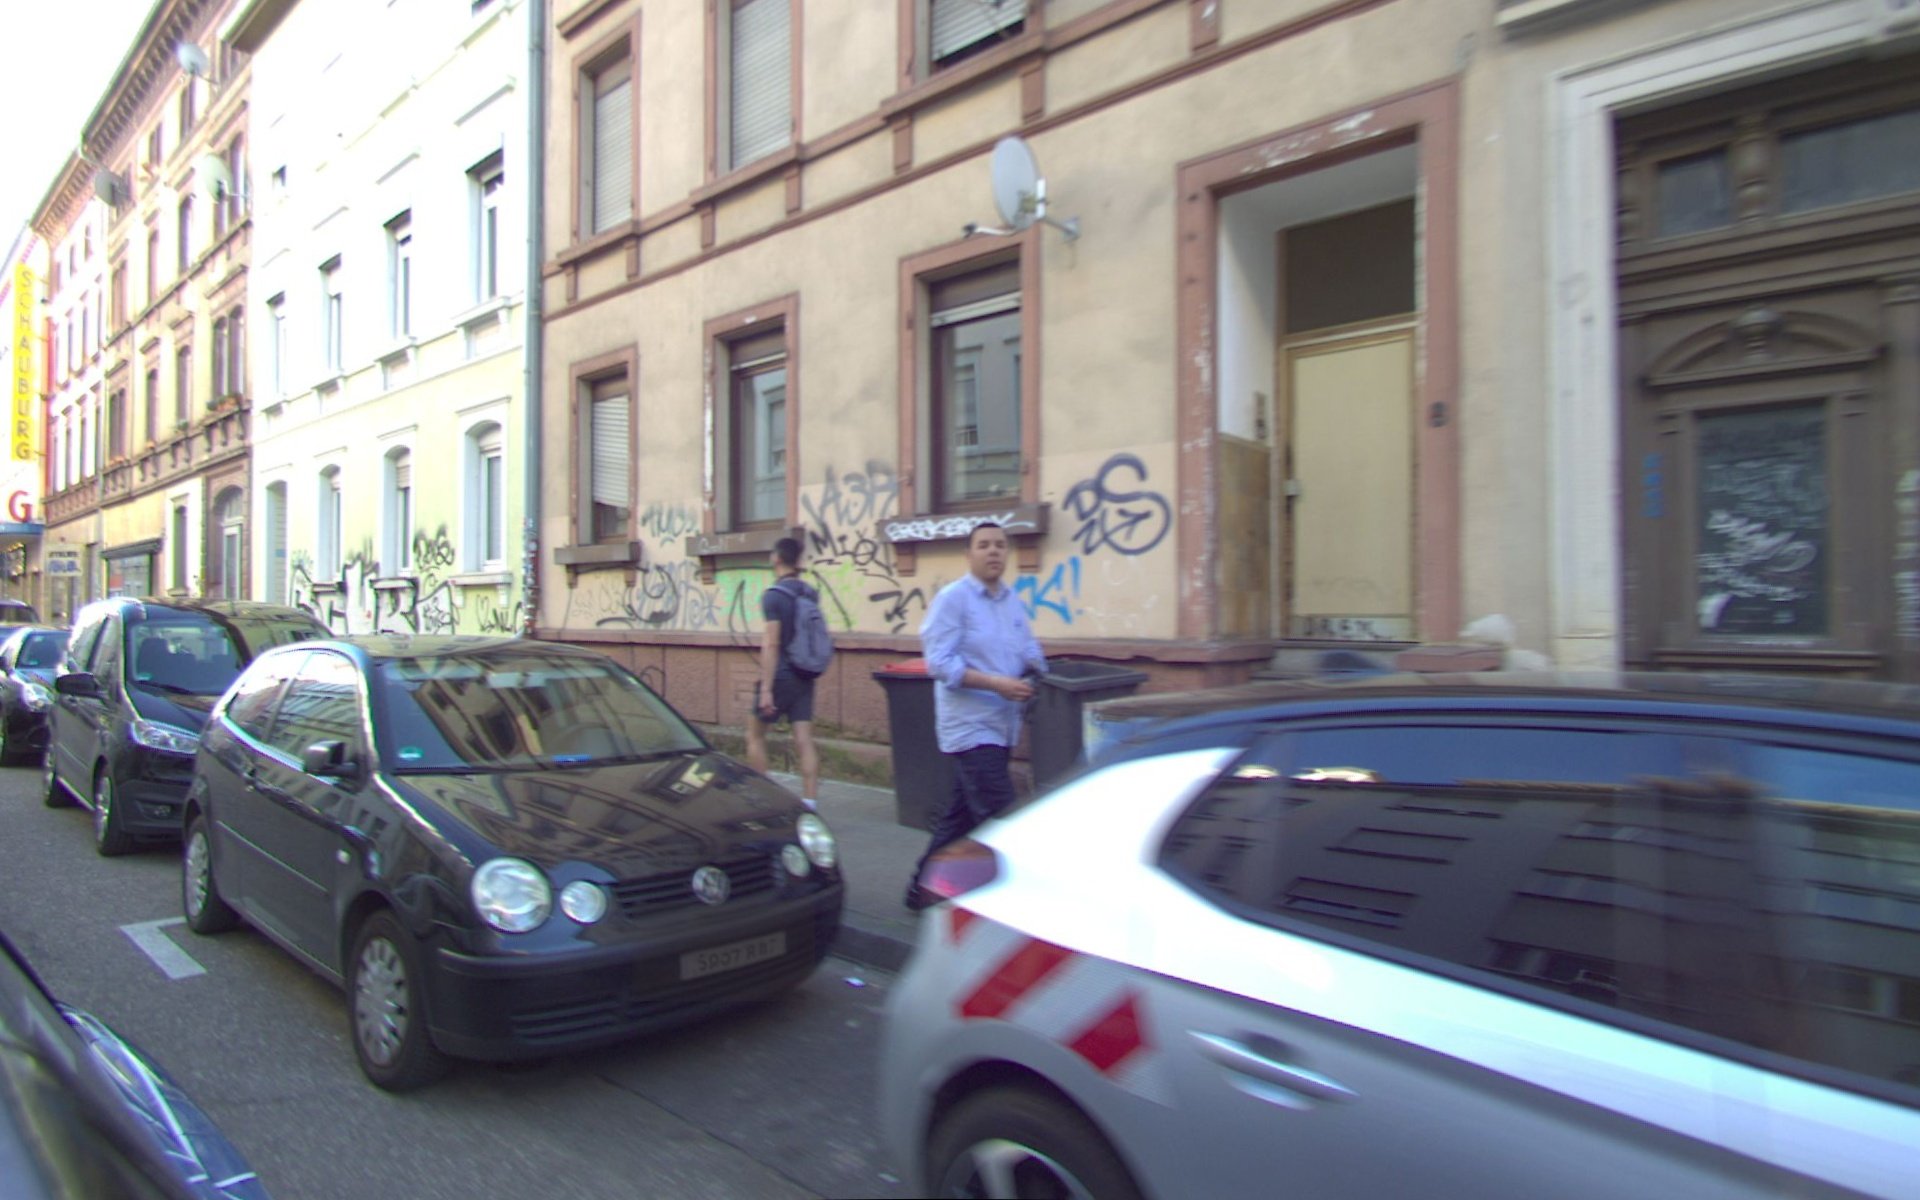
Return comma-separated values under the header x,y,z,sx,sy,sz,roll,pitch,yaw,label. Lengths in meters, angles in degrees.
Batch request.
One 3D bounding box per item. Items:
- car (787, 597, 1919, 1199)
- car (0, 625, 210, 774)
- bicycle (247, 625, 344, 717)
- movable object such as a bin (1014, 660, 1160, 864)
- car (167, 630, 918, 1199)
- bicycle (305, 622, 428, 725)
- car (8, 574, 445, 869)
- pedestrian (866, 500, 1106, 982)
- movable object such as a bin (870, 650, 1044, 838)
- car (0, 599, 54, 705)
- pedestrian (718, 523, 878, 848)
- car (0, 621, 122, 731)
x,y,z,sx,sy,sz,roll,pitch,yaw,label
1.610,0.735,1.449,3.888,1.441,1.655,-1,-2,43,car
-10.255,1.013,11.684,3.998,1.438,1.718,-1,-2,41,car
-9.966,1.017,15.140,2.085,1.281,0.666,-1,-2,41,bicycle
0.741,0.885,5.828,0.589,1.033,0.725,-1,-1,31,movable object such as a bin
-2.037,0.862,4.400,3.652,1.451,1.575,-1,-2,42,car
-8.033,0.944,13.648,2.325,1.255,0.660,-1,1,40,bicycle
-5.827,0.782,7.875,3.997,1.711,1.782,-1,-4,40,car
0.112,0.534,4.340,0.753,1.831,0.644,-1,0,41,pedestrian
-0.017,0.882,6.552,0.757,1.032,0.781,-1,2,43,movable object such as a bin
-19.184,0.968,19.582,4.611,1.906,1.808,-1,-4,41,car
-1.010,0.490,6.302,0.753,1.872,0.604,-1,0,40,pedestrian
-14.322,1.073,15.148,4.639,1.451,1.844,-2,-3,39,car
